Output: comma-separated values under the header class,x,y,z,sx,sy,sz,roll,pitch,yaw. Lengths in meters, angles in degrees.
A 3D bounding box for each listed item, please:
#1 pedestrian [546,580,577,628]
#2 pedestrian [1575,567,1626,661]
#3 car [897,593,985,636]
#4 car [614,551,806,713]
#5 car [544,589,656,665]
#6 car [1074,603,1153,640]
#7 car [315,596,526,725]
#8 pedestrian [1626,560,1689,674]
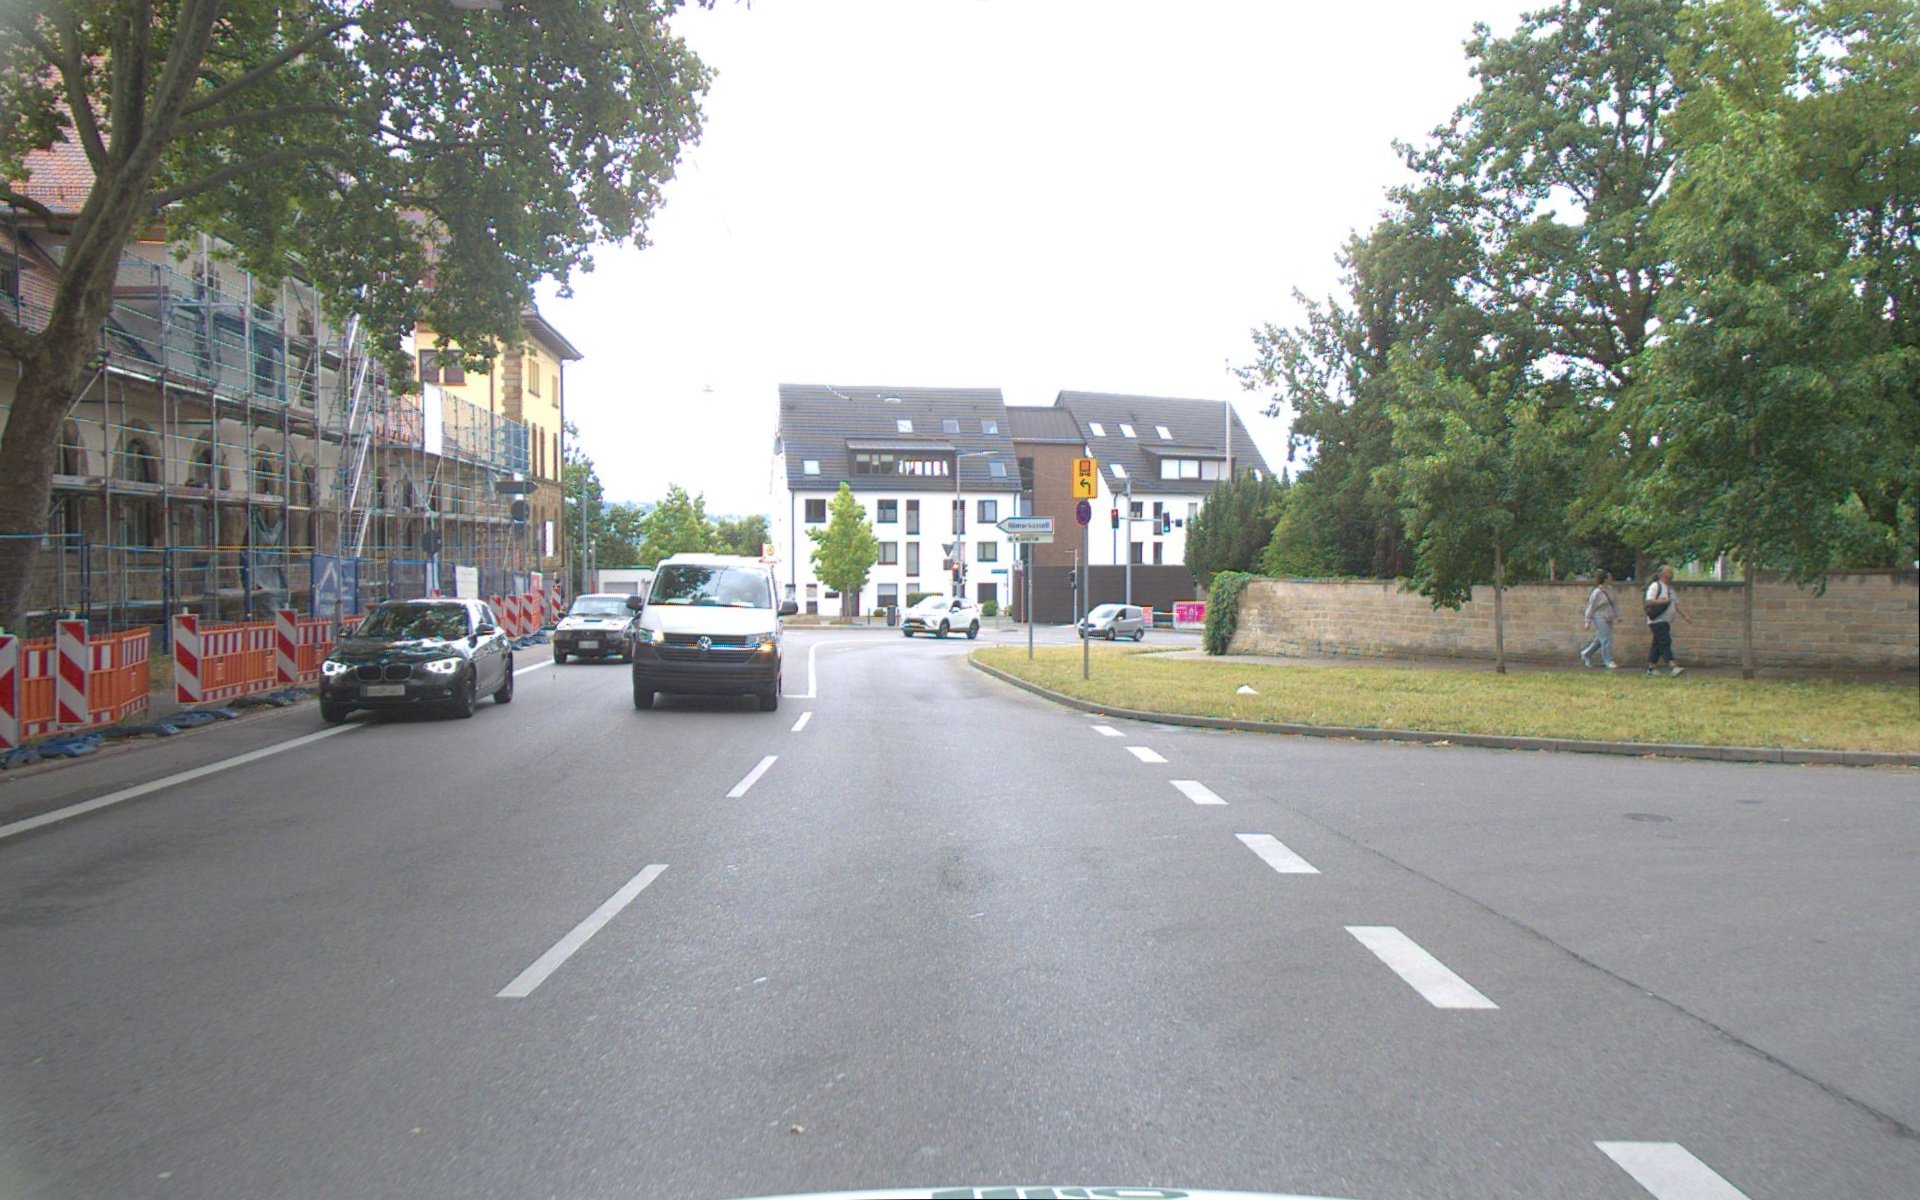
class,x,y,z,sx,sy,sz,roll,pitch,yaw
pedestrian,-14.779,0.143,61.397,0.904,1.750,0.798,2,-1,-3
pedestrian,11.233,0.242,28.991,0.574,1.612,0.568,-3,1,-34
car,-0.732,0.605,67.316,1.756,1.639,4.504,0,-2,26
car,-3.303,0.383,22.884,2.161,1.965,5.236,-1,0,-4
car,-7.571,0.529,35.135,1.767,1.483,4.630,-1,0,-6
car,7.472,1.059,80.125,1.669,1.642,4.055,1,-1,43
car,-6.766,0.689,21.163,1.666,1.451,4.244,-1,0,-6
pedestrian,10.983,0.251,26.040,0.705,1.764,0.652,0,1,-38
